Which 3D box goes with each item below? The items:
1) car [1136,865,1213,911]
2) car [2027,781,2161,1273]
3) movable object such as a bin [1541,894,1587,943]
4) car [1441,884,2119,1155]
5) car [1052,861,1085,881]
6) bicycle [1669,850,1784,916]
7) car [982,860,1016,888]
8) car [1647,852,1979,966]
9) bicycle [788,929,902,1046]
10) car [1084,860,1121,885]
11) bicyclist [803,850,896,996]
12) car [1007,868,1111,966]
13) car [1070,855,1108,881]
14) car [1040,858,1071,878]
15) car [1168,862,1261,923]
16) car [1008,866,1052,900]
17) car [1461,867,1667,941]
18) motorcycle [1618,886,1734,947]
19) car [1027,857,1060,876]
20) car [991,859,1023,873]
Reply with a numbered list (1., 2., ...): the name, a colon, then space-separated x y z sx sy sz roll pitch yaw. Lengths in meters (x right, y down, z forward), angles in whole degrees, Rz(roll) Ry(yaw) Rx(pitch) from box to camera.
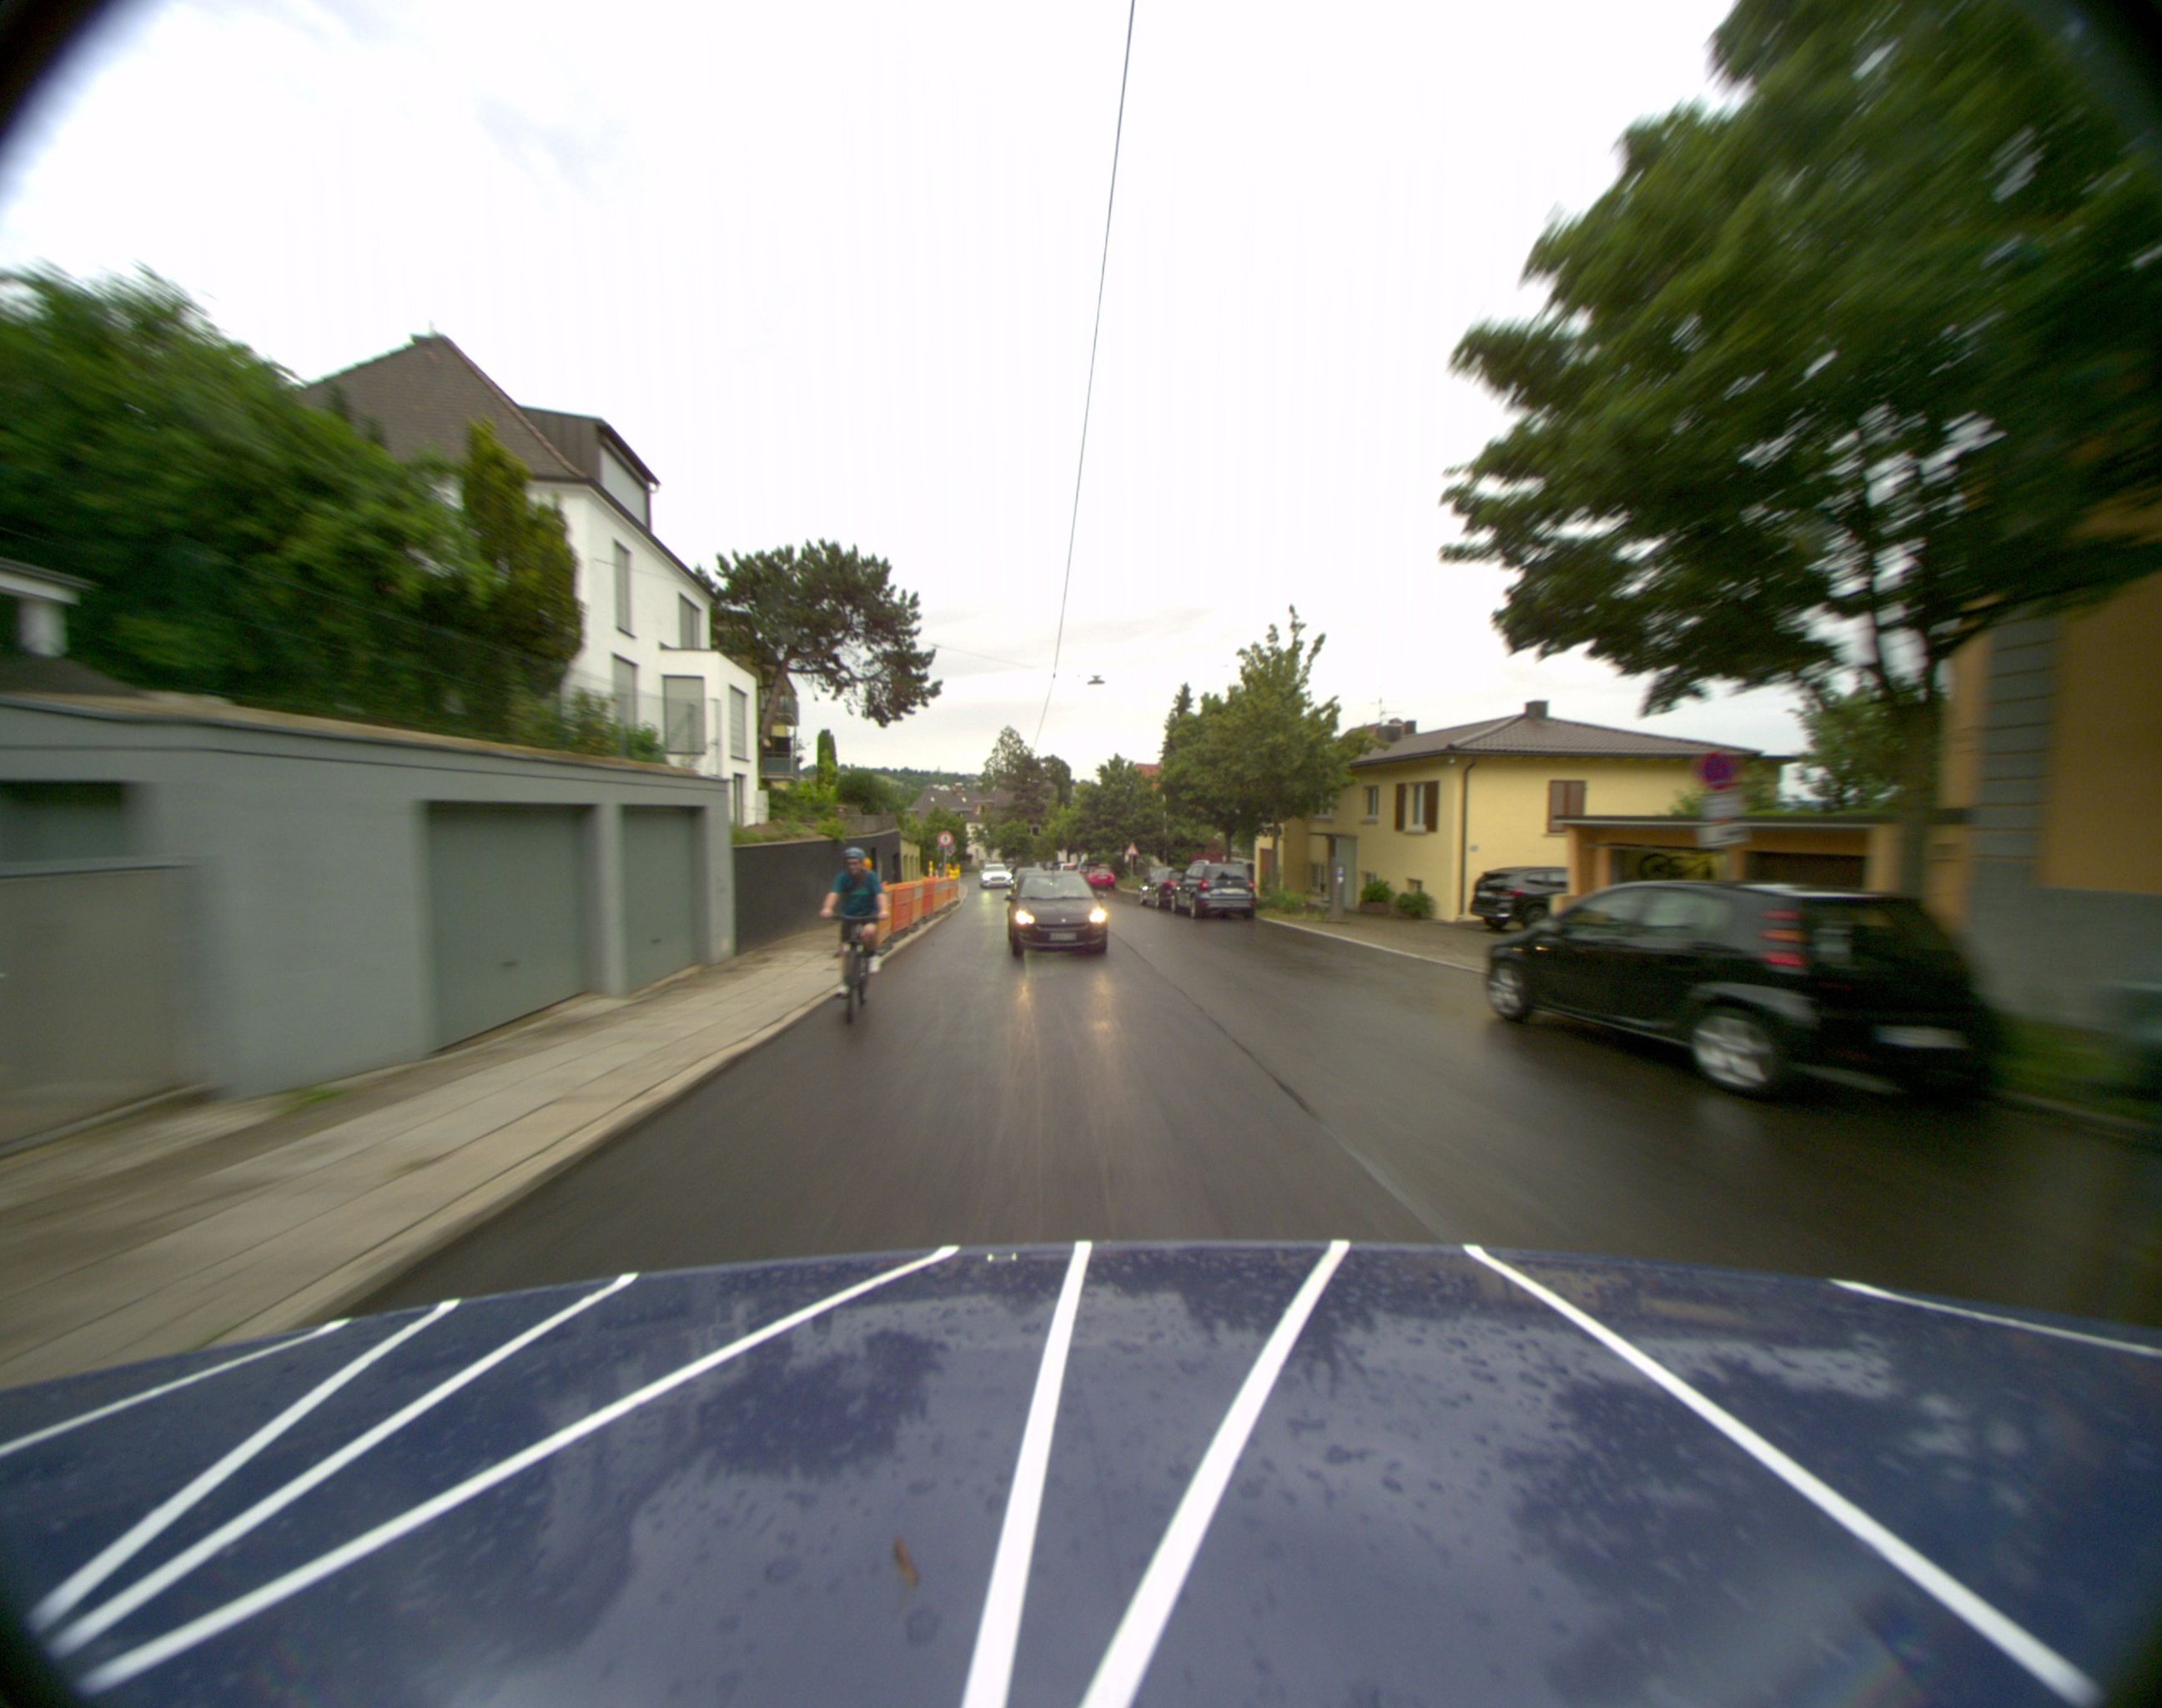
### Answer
1. car: 3.357 1.200 28.281 1.774 1.526 4.602 1 -1 -7
2. car: 5.503 0.714 1.239 1.796 2.037 4.781 2 -1 -3
3. movable object such as a bin: 10.663 1.419 16.787 0.588 1.017 0.586 -2 0 -7
4. car: 5.216 1.069 6.688 1.773 1.428 4.345 1 0 -4
5. car: -1.017 1.326 60.133 1.740 1.458 3.995 -3 0 -14
6. bicycle: 13.497 0.590 15.914 1.763 0.932 0.626 15 -1 -3
7. car: -5.736 1.350 52.529 2.002 1.699 4.570 -2 1 -10
8. car: 13.516 0.974 14.243 4.392 1.881 1.847 0 4 -2
9. bicycle: -2.433 1.344 8.037 0.732 0.959 1.670 -2 -1 -3
10. car: 1.295 1.101 46.789 1.687 1.463 3.862 -1 0 -8
11. bicyclist: -2.455 0.705 8.156 0.727 1.463 0.886 -1 0 -3
12. car: -0.550 1.073 14.874 1.675 1.457 4.713 -2 0 -5
13. car: 0.466 0.898 51.506 1.807 1.659 4.422 -1 0 -10
14. car: -2.247 1.139 65.235 1.740 1.536 4.204 -3 1 -14
15. car: 3.925 1.090 23.069 1.773 1.624 4.108 3 -1 -4
16. car: -2.455 1.337 36.012 1.844 1.395 4.068 -2 1 -7
17. car: 12.000 1.203 19.053 4.065 1.636 1.862 -1 1 -4
18. motorcycle: 12.249 1.281 15.671 1.906 1.161 0.577 1 3 -2
19. car: -3.537 1.099 70.304 1.874 1.536 4.897 -3 1 -17
20. car: -7.870 1.245 80.491 1.678 1.457 3.885 -2 1 -34
